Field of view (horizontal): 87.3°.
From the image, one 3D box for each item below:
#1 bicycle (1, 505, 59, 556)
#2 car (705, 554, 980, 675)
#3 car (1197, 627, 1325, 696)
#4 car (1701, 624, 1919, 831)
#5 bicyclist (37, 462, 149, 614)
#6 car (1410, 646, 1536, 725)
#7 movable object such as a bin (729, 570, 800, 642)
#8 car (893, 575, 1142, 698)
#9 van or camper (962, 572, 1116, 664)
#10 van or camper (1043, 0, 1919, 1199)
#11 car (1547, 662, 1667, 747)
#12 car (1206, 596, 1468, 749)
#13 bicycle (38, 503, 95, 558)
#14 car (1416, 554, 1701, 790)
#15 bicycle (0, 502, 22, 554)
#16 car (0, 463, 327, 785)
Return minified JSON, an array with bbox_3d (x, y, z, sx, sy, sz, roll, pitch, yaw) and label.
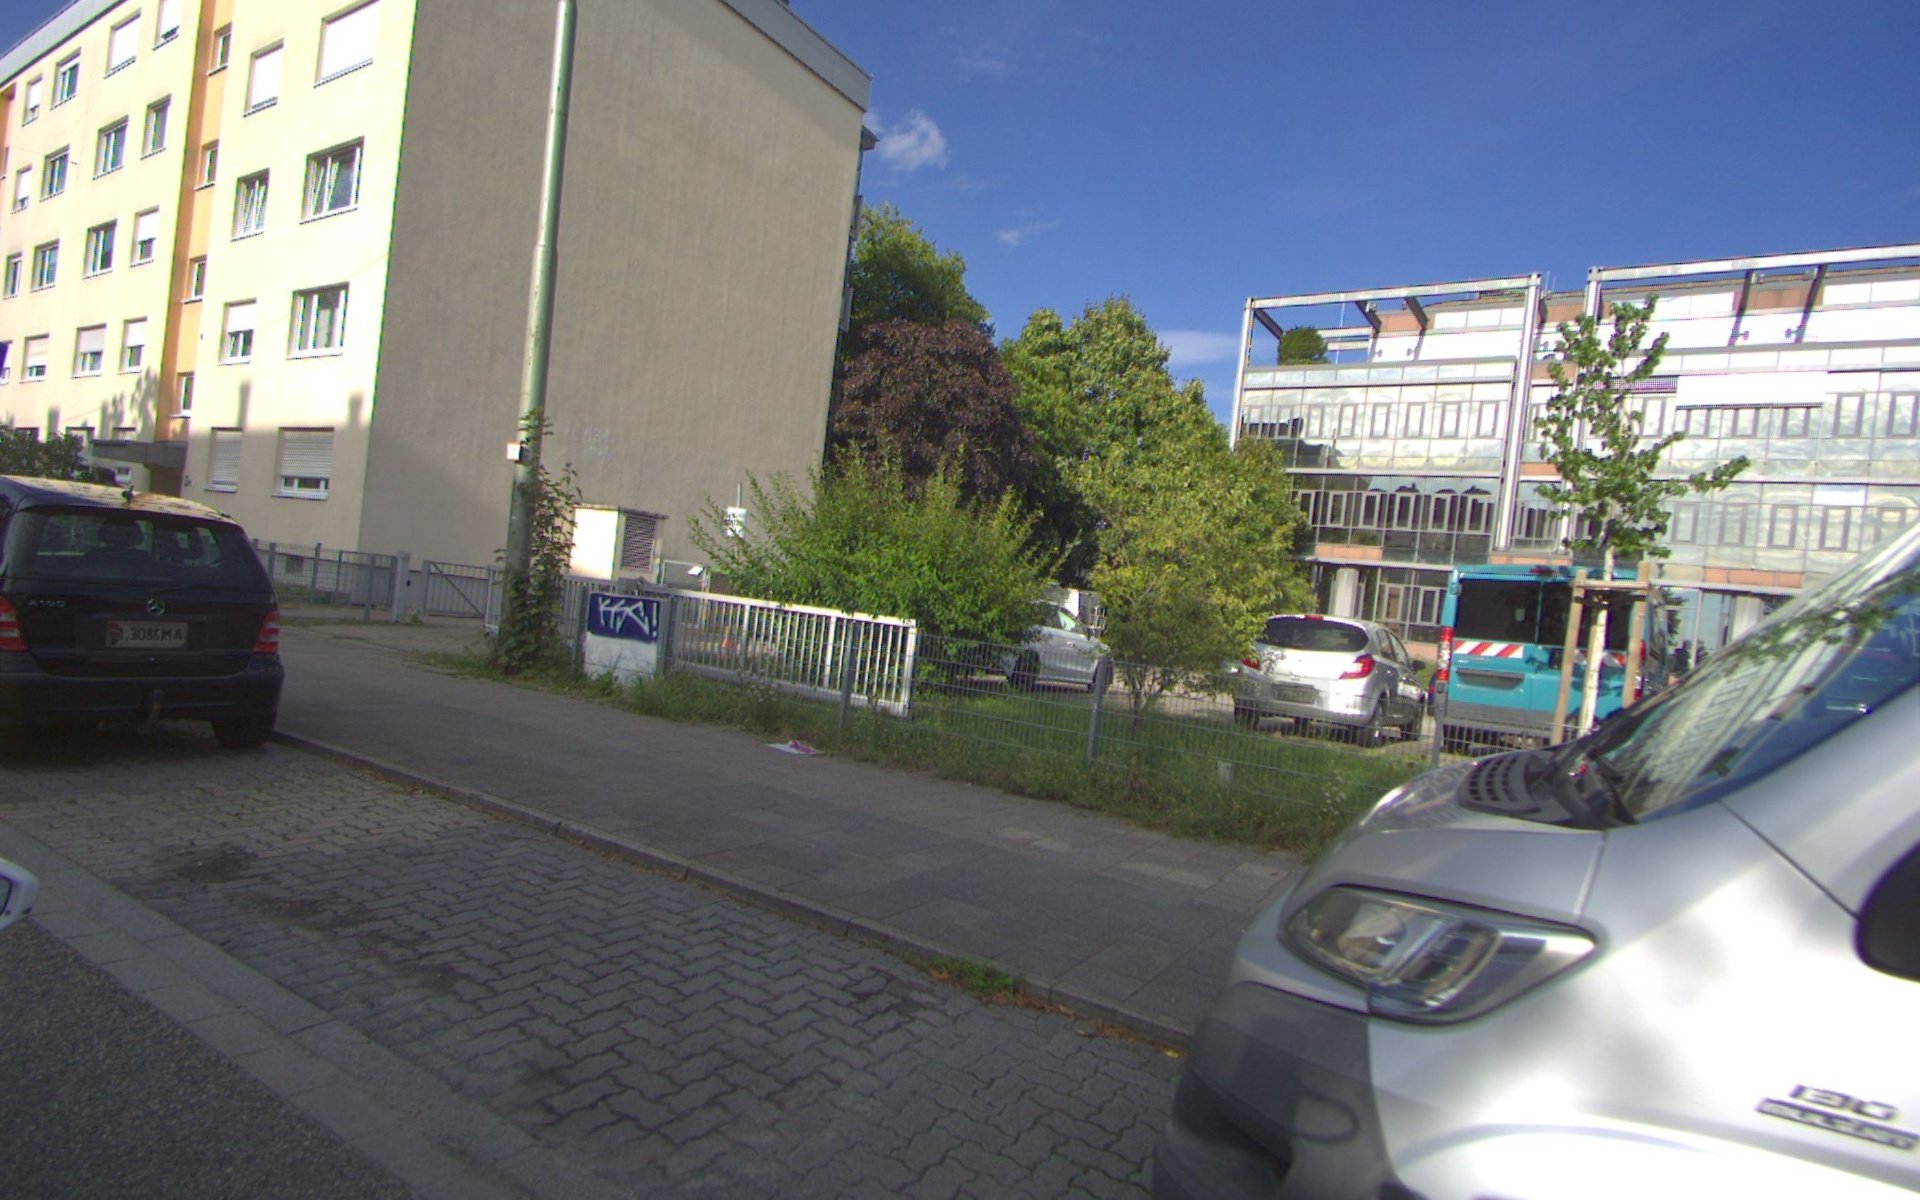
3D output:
[{"bbox_3d":[-22.059,-1.651,23.851,1.564,1.088,0.522,5,1,30],"label":"bicycle"},{"bbox_3d":[-1.785,0.328,16.927,1.841,1.500,4.669,7,-1,35],"label":"car"},{"bbox_3d":[8.103,1.670,26.883,1.842,1.435,4.077,7,-1,38],"label":"car"},{"bbox_3d":[8.830,1.264,10.183,1.843,1.583,3.785,7,-1,39],"label":"car"},{"bbox_3d":[-10.394,-0.739,12.065,0.878,1.698,0.624,7,0,30],"label":"bicyclist"},{"bbox_3d":[12.263,2.072,23.922,1.842,1.500,4.077,7,-1,38],"label":"car"},{"bbox_3d":[-4.247,0.133,21.901,1.092,1.435,0.877,7,1,32],"label":"movable object such as a bin"},{"bbox_3d":[1.050,0.648,16.168,1.843,1.500,4.075,7,-1,39],"label":"car"},{"bbox_3d":[2.746,0.612,35.537,4.806,2.666,2.148,6,0,38],"label":"van or camper"},{"bbox_3d":[3.227,0.529,1.007,5.814,2.560,2.161,7,2,30],"label":"van or camper"},{"bbox_3d":[14.773,2.373,22.879,1.842,1.521,4.077,7,-1,38],"label":"car"},{"bbox_3d":[4.991,0.976,12.975,1.843,1.500,4.075,7,-1,39],"label":"car"},{"bbox_3d":[-21.813,-1.702,24.546,1.564,1.231,0.522,5,1,30],"label":"bicycle"},{"bbox_3d":[7.489,0.878,12.354,2.331,2.218,4.268,7,-1,38],"label":"car"},{"bbox_3d":[-22.518,-1.707,23.477,1.564,1.151,0.445,5,1,30],"label":"bicycle"},{"bbox_3d":[-6.148,-0.020,6.633,3.904,1.622,1.675,7,1,31],"label":"car"}]
